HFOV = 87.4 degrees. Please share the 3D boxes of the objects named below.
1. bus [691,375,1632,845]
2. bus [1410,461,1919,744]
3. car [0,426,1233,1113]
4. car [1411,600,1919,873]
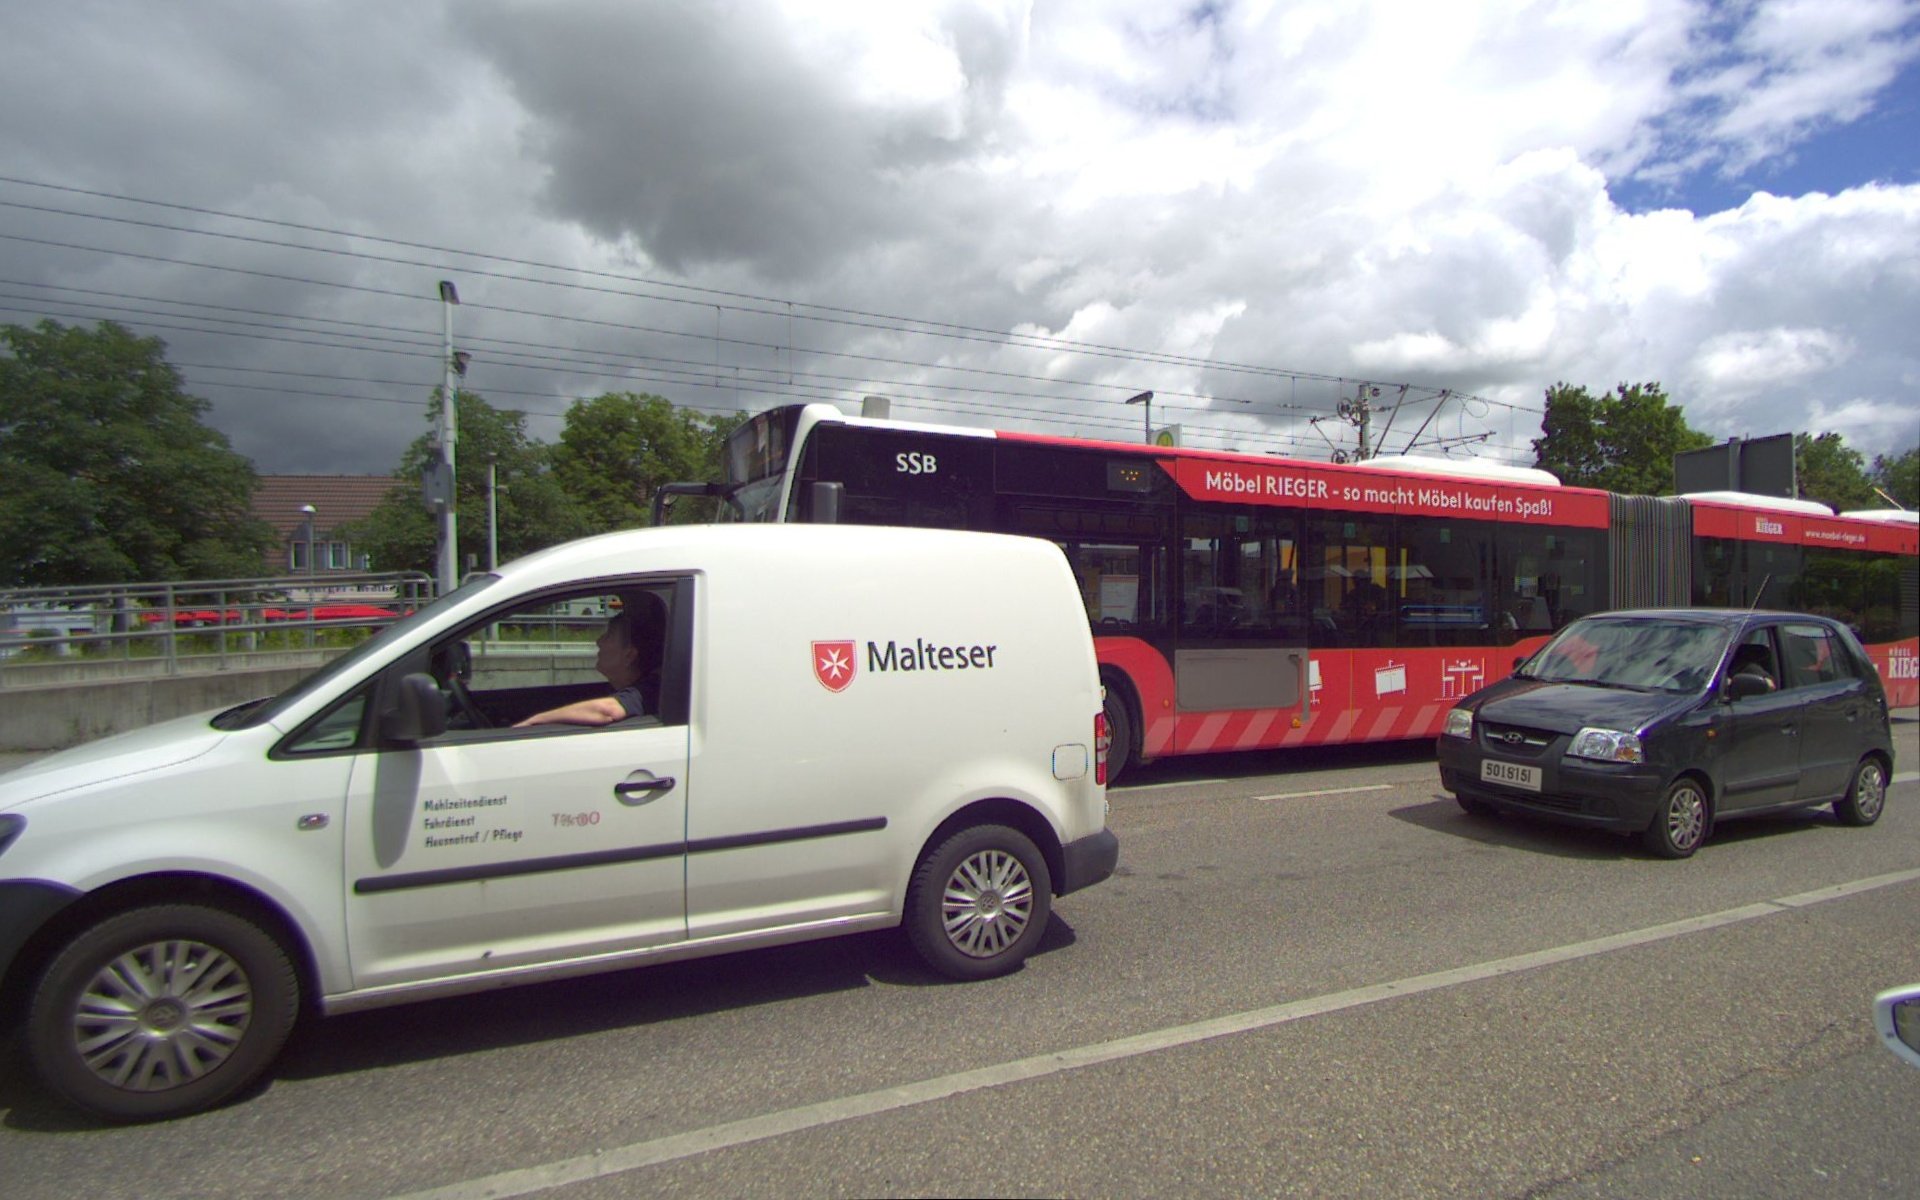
[{"bbox_3d":[2.422,0.063,10.075,9.574,3.150,2.717,0,-1,-26],"label":"bus"},{"bbox_3d":[10.613,0.058,14.215,8.843,3.110,2.717,0,-1,-26],"label":"bus"},{"bbox_3d":[-1.170,0.525,4.118,4.450,1.684,1.755,3,-3,-28],"label":"car"},{"bbox_3d":[5.190,0.796,7.304,3.684,1.572,1.524,0,0,-27],"label":"car"}]
